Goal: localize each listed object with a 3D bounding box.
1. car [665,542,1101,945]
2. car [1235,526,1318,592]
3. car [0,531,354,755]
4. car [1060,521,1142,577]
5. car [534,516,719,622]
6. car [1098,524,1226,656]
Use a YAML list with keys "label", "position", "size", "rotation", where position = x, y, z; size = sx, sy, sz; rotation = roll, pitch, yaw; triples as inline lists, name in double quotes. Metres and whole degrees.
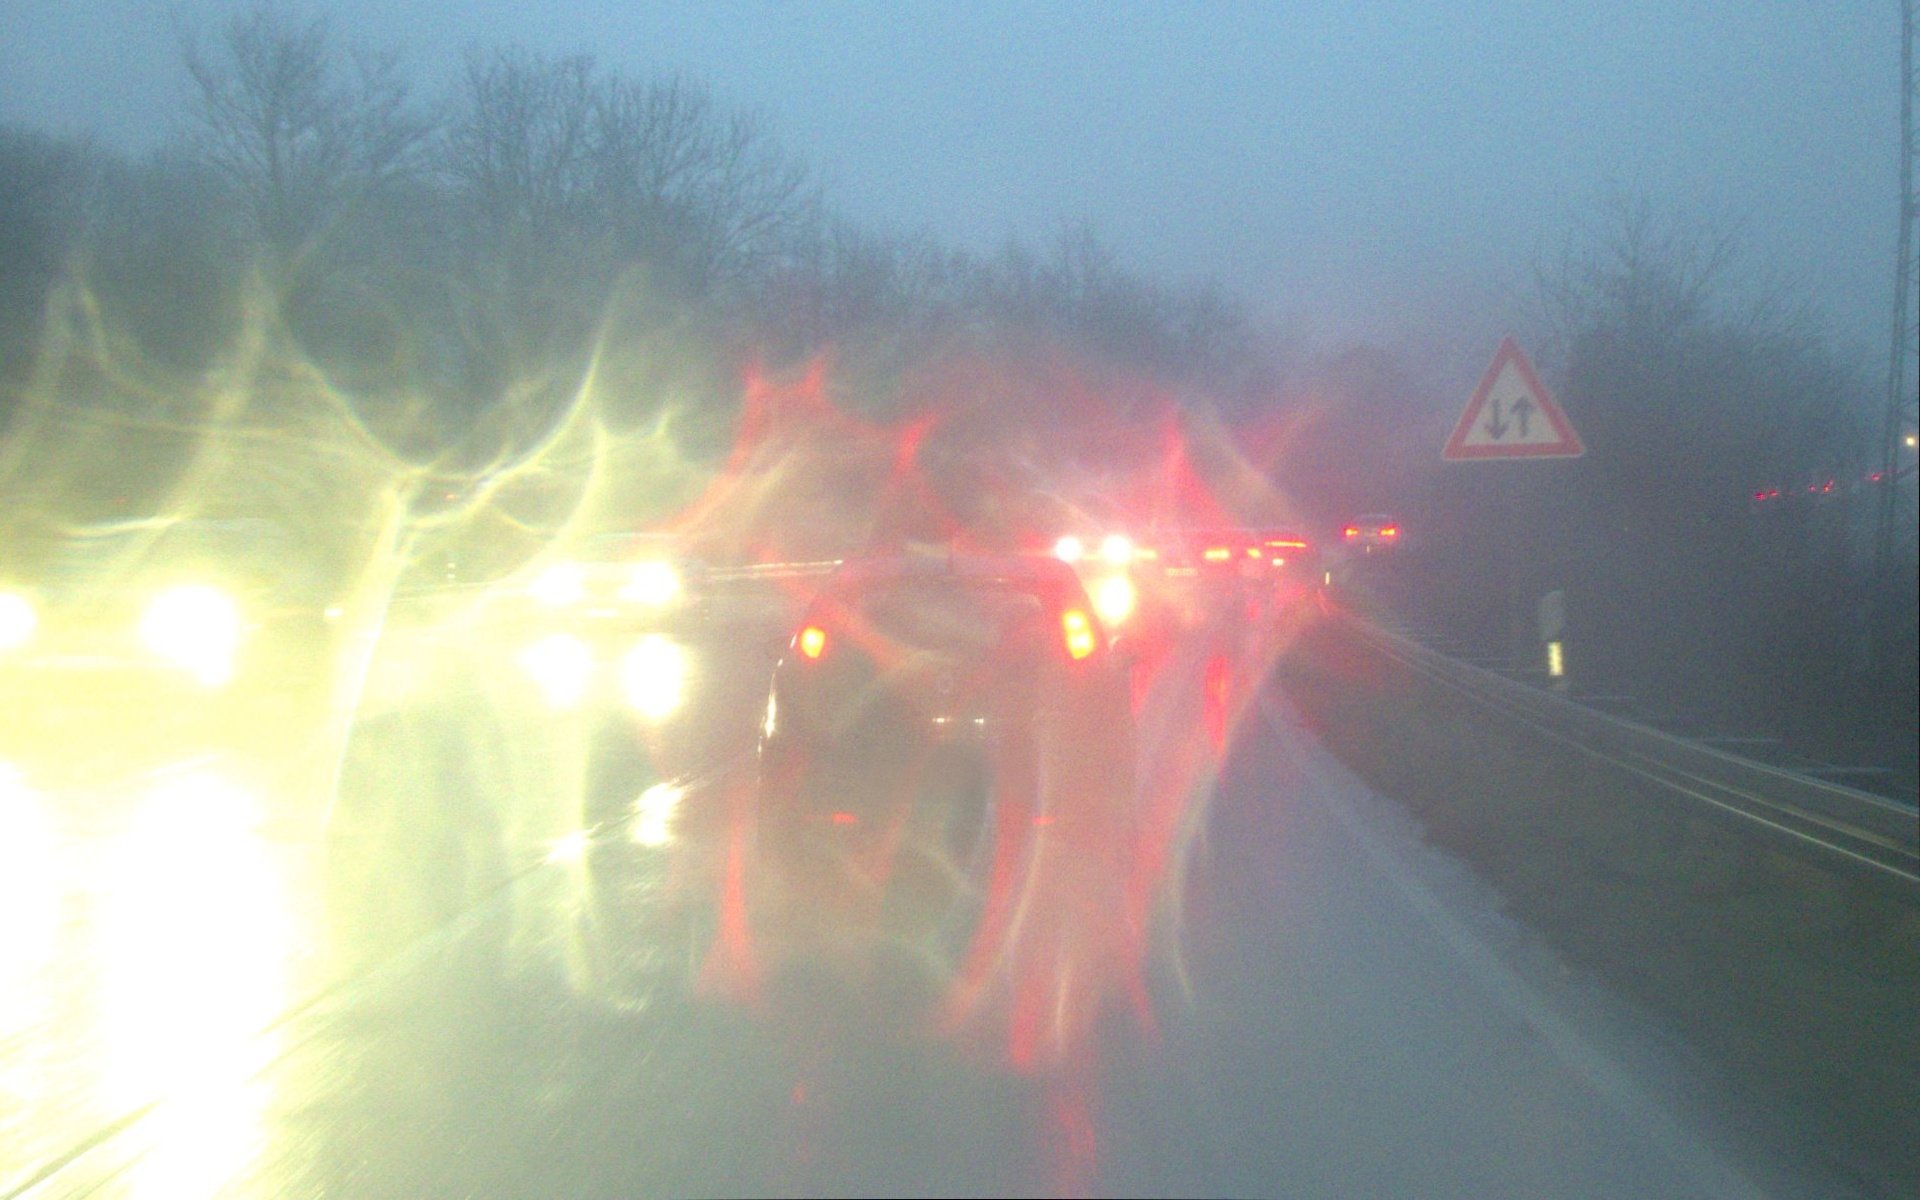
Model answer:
- label: "car"
  position: [-0.301, 0.570, 16.445]
  size: [1.730, 1.527, 4.042]
  rotation: [-4, 2, 1]
- label: "car"
  position: [8.615, -1.111, 93.415]
  size: [1.947, 1.739, 3.998]
  rotation: [0, 1, 10]
- label: "car"
  position: [-6.159, 0.276, 26.818]
  size: [1.888, 1.584, 4.382]
  rotation: [1, 1, 3]
- label: "car"
  position: [3.891, -1.418, 94.250]
  size: [1.864, 1.496, 4.521]
  rotation: [0, 1, 7]
- label: "car"
  position: [-4.904, -0.472, 51.128]
  size: [1.994, 1.485, 4.381]
  rotation: [1, 1, 4]
- label: "car"
  position: [3.247, -0.201, 54.831]
  size: [1.946, 2.007, 4.000]
  rotation: [1, 1, 4]
